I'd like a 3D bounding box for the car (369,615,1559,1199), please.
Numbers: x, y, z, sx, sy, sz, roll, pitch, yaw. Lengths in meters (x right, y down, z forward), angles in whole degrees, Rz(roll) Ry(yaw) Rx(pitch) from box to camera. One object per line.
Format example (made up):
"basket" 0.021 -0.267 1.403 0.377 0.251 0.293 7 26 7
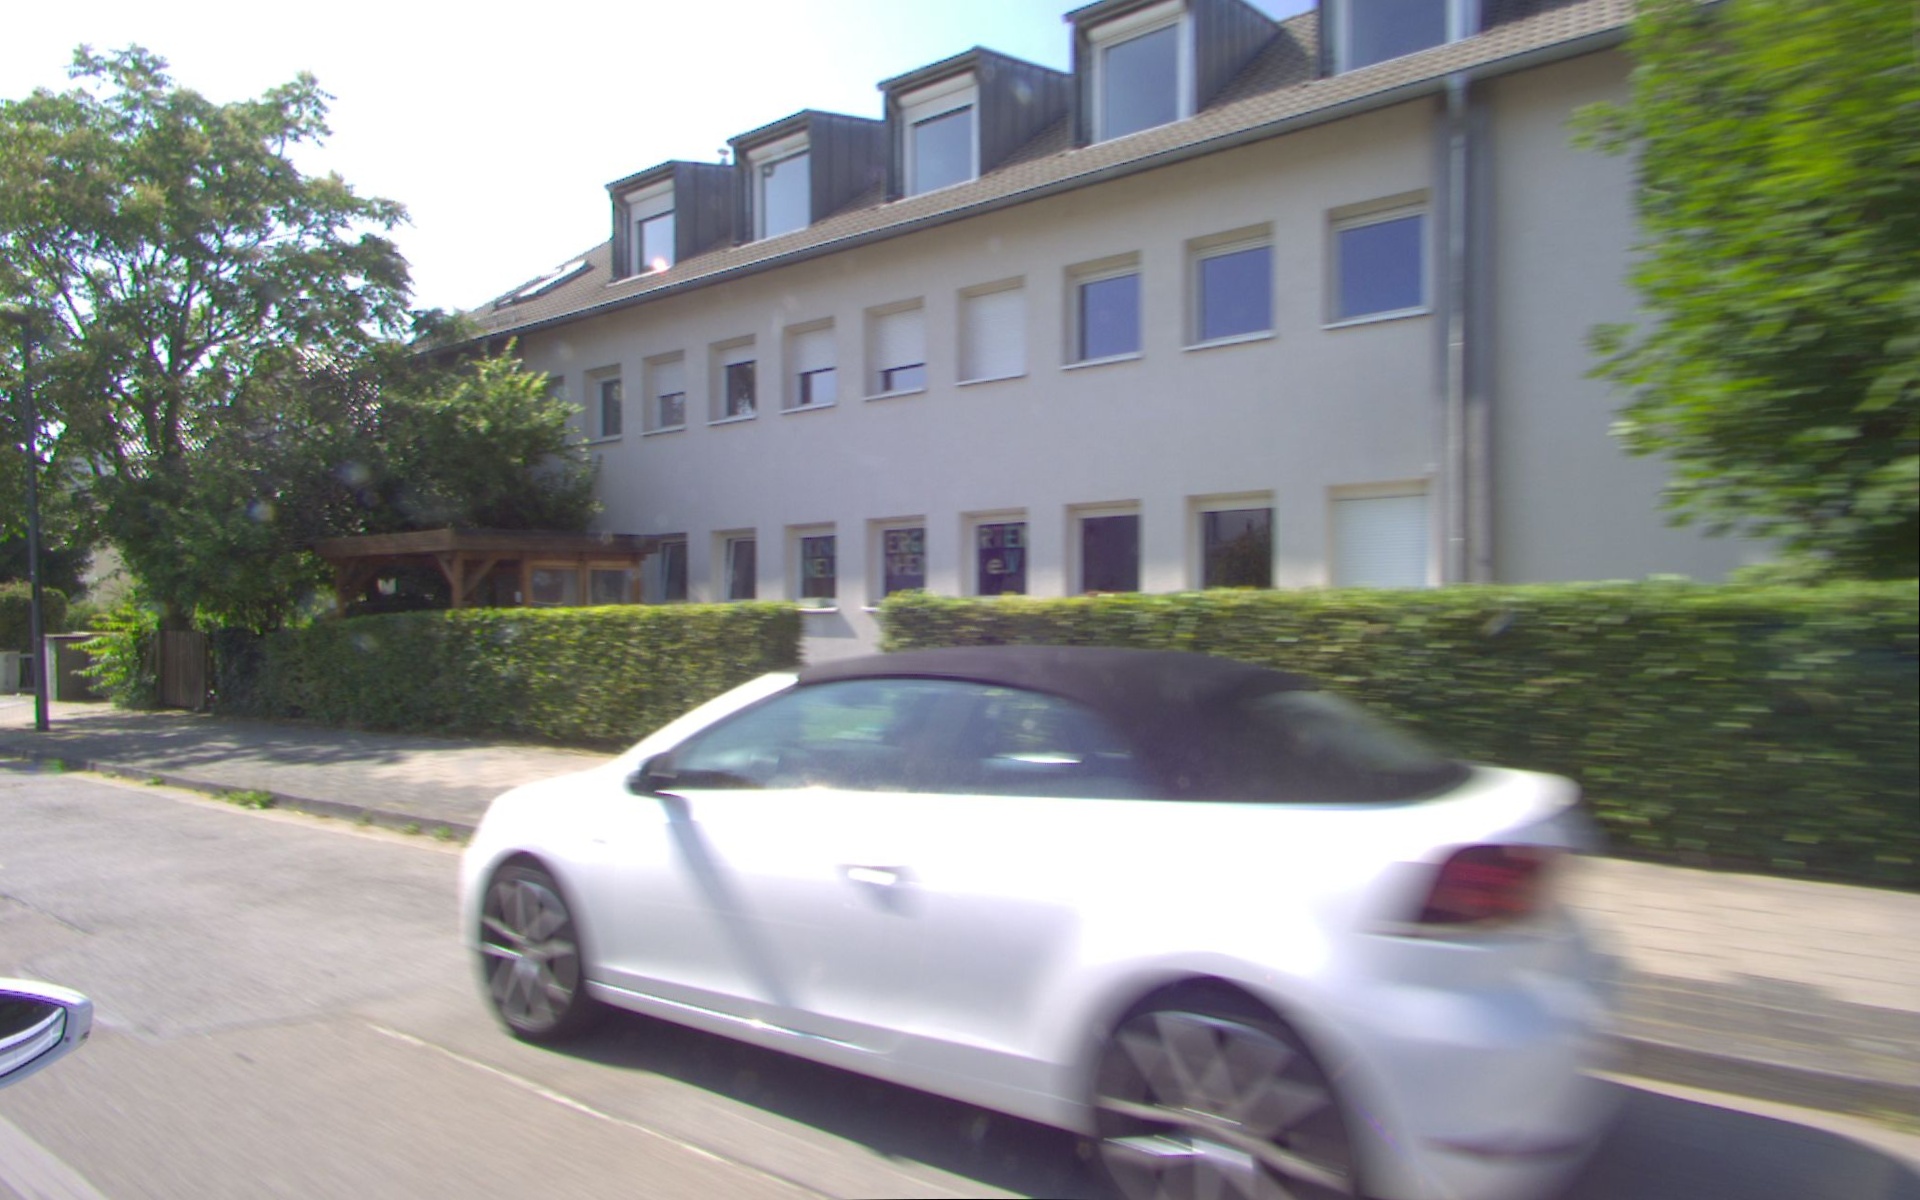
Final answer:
"car" -0.171 0.806 3.639 4.015 1.420 1.738 -1 -3 32
